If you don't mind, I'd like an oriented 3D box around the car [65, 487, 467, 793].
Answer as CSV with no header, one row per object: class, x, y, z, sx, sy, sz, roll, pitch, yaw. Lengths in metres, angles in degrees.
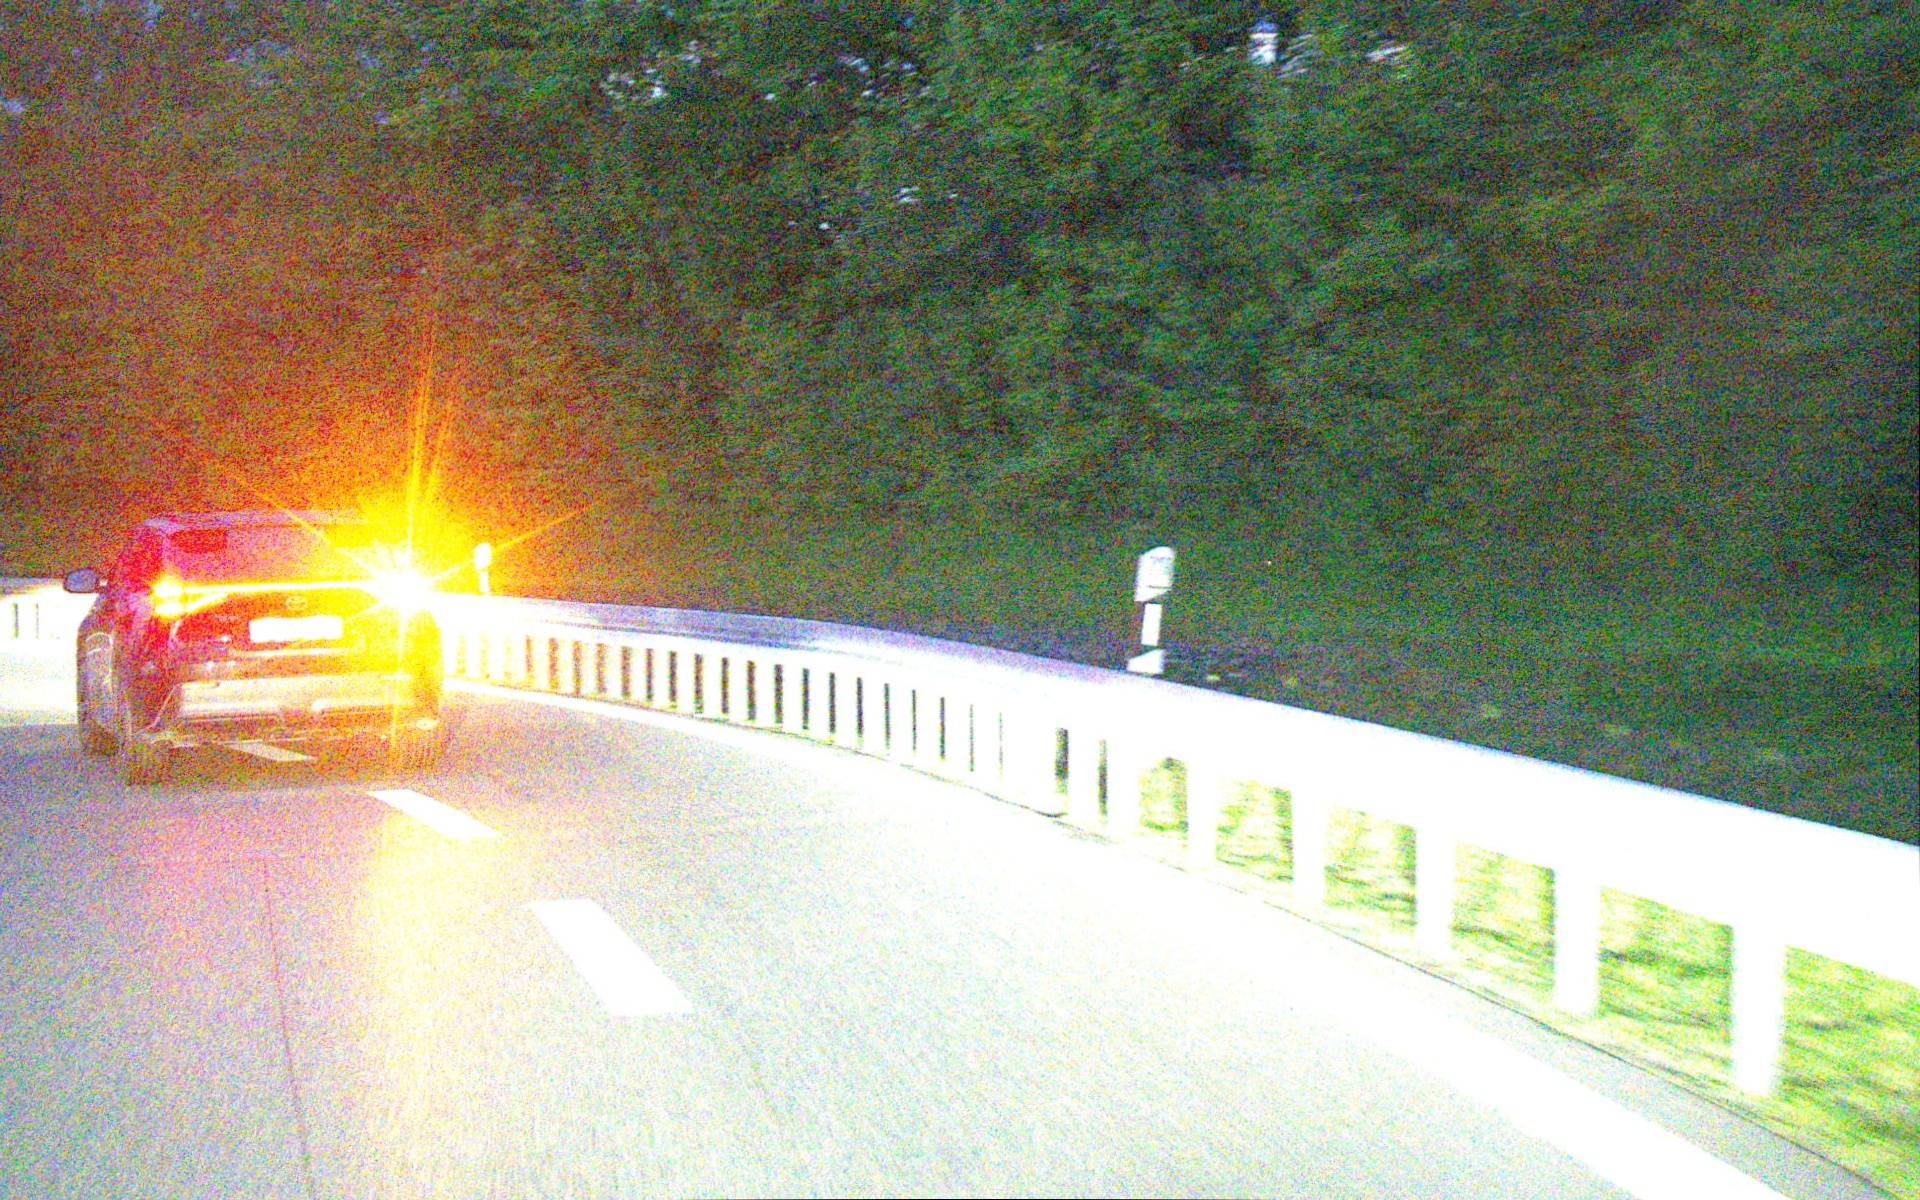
car,-4.458,0.177,21.565,1.993,1.653,4.316,-2,2,-17
